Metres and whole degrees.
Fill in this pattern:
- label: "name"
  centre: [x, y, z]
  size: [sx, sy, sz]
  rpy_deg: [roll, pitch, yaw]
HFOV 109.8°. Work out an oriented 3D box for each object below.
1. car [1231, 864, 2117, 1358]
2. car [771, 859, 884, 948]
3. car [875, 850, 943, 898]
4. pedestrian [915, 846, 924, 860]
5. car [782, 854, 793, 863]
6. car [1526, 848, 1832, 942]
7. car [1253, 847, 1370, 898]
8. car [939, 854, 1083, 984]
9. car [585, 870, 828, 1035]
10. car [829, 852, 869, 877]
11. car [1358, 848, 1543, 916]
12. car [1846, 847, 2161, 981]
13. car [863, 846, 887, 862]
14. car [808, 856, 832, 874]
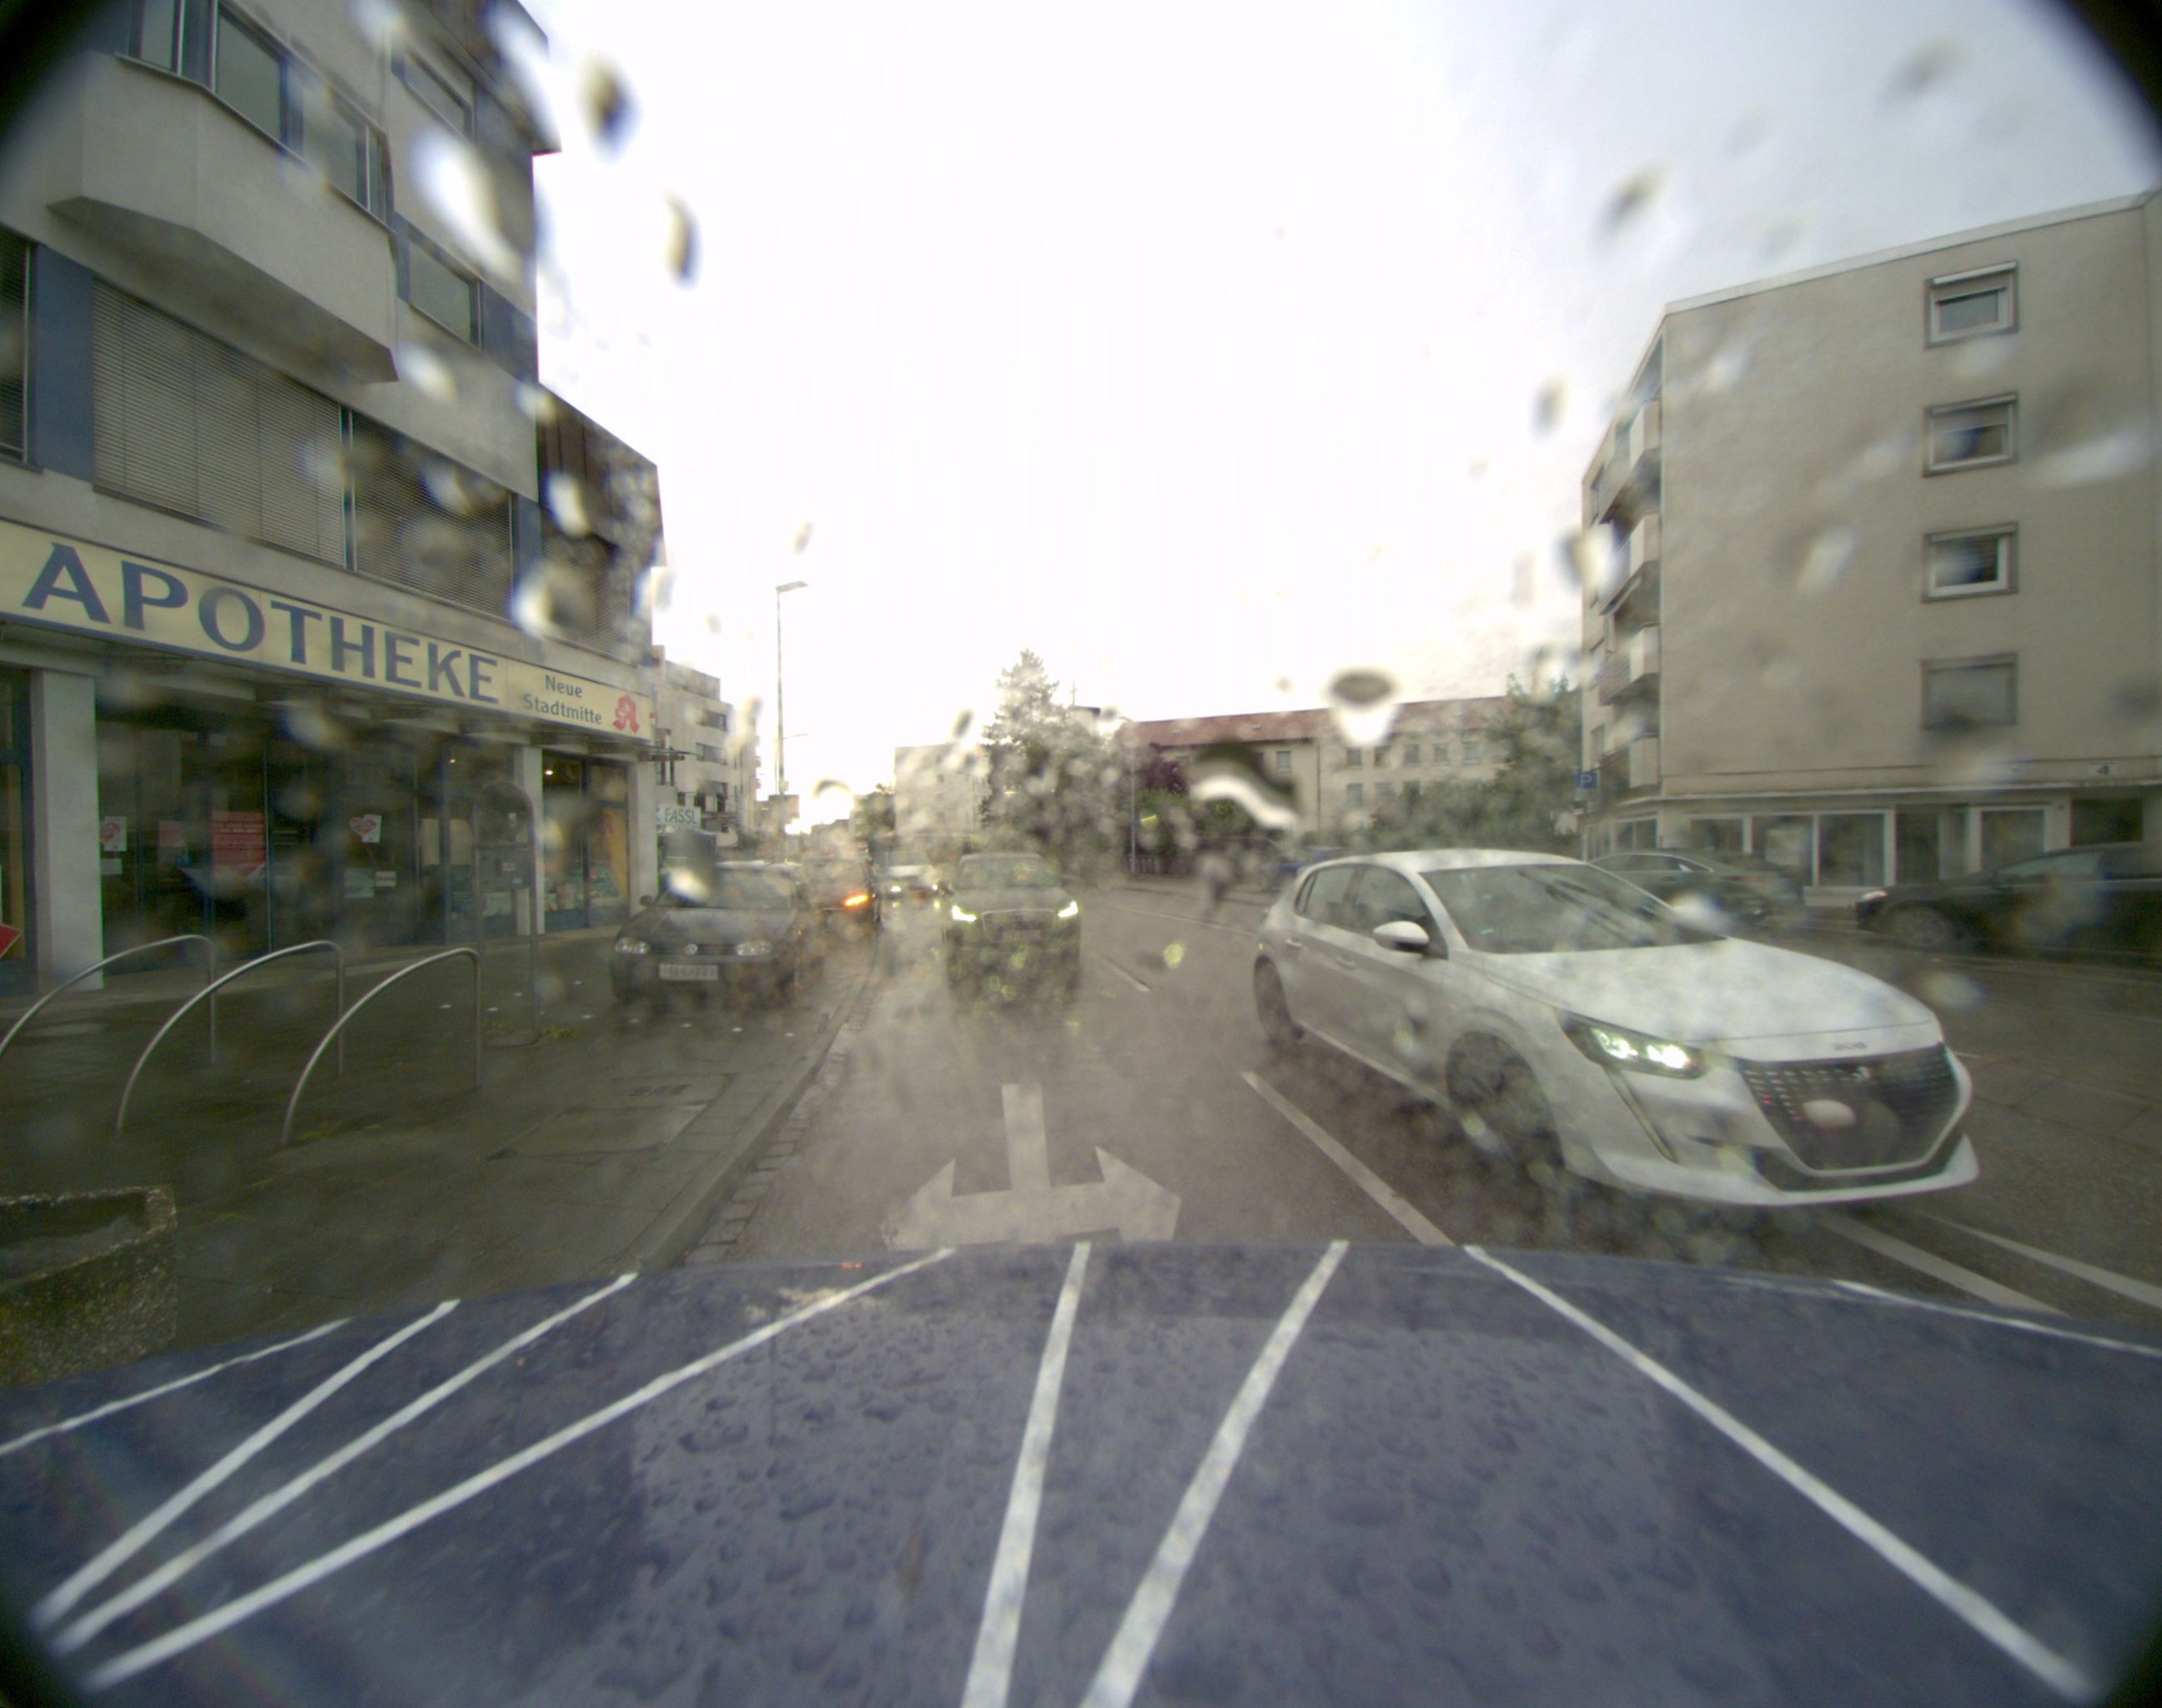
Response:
- label: "car"
  centre: [2.420, 0.827, 4.419]
  size: [1.744, 1.401, 3.892]
  rpy_deg: [-3, 1, -9]
- label: "car"
  centre: [-4.807, 0.849, 14.858]
  size: [1.660, 1.416, 3.995]
  rpy_deg: [-1, 1, -12]
- label: "car"
  centre: [-6.096, 0.637, 26.615]
  size: [1.736, 1.519, 4.056]
  rpy_deg: [-1, 0, -21]
- label: "pedestrian"
  centre: [-20.113, -0.147, 94.480]
  size: [0.857, 1.726, 0.834]
  rpy_deg: [-1, 2, -29]
- label: "car"
  centre: [-55.101, 0.798, 142.705]
  size: [1.747, 1.630, 3.991]
  rpy_deg: [-1, 1, -24]
- label: "car"
  centre: [11.140, 0.641, 14.571]
  size: [1.839, 1.426, 4.266]
  rpy_deg: [-2, 2, -21]
- label: "car"
  centre: [7.413, 0.527, 24.780]
  size: [1.636, 1.497, 3.873]
  rpy_deg: [-1, 1, -20]
- label: "car"
  centre: [-1.139, 0.798, 11.388]
  size: [1.735, 1.436, 4.042]
  rpy_deg: [-2, 2, -8]
- label: "car"
  centre: [-4.011, 0.941, 8.787]
  size: [1.656, 1.364, 3.727]
  rpy_deg: [1, 0, -12]
- label: "car"
  centre: [-14.073, 0.593, 45.944]
  size: [1.804, 1.361, 3.964]
  rpy_deg: [-1, 2, -24]
- label: "car"
  centre: [9.276, 0.624, 19.510]
  size: [1.639, 1.491, 4.338]
  rpy_deg: [-1, 1, -21]
- label: "car"
  centre: [12.916, 0.677, 9.604]
  size: [1.839, 1.451, 4.180]
  rpy_deg: [-2, 2, -21]
- label: "car"
  centre: [-19.000, -0.019, 70.123]
  size: [1.753, 1.446, 3.806]
  rpy_deg: [-1, 2, -21]
- label: "car"
  centre: [-25.399, 1.038, 73.841]
  size: [2.002, 1.606, 3.993]
  rpy_deg: [-3, 1, -20]
